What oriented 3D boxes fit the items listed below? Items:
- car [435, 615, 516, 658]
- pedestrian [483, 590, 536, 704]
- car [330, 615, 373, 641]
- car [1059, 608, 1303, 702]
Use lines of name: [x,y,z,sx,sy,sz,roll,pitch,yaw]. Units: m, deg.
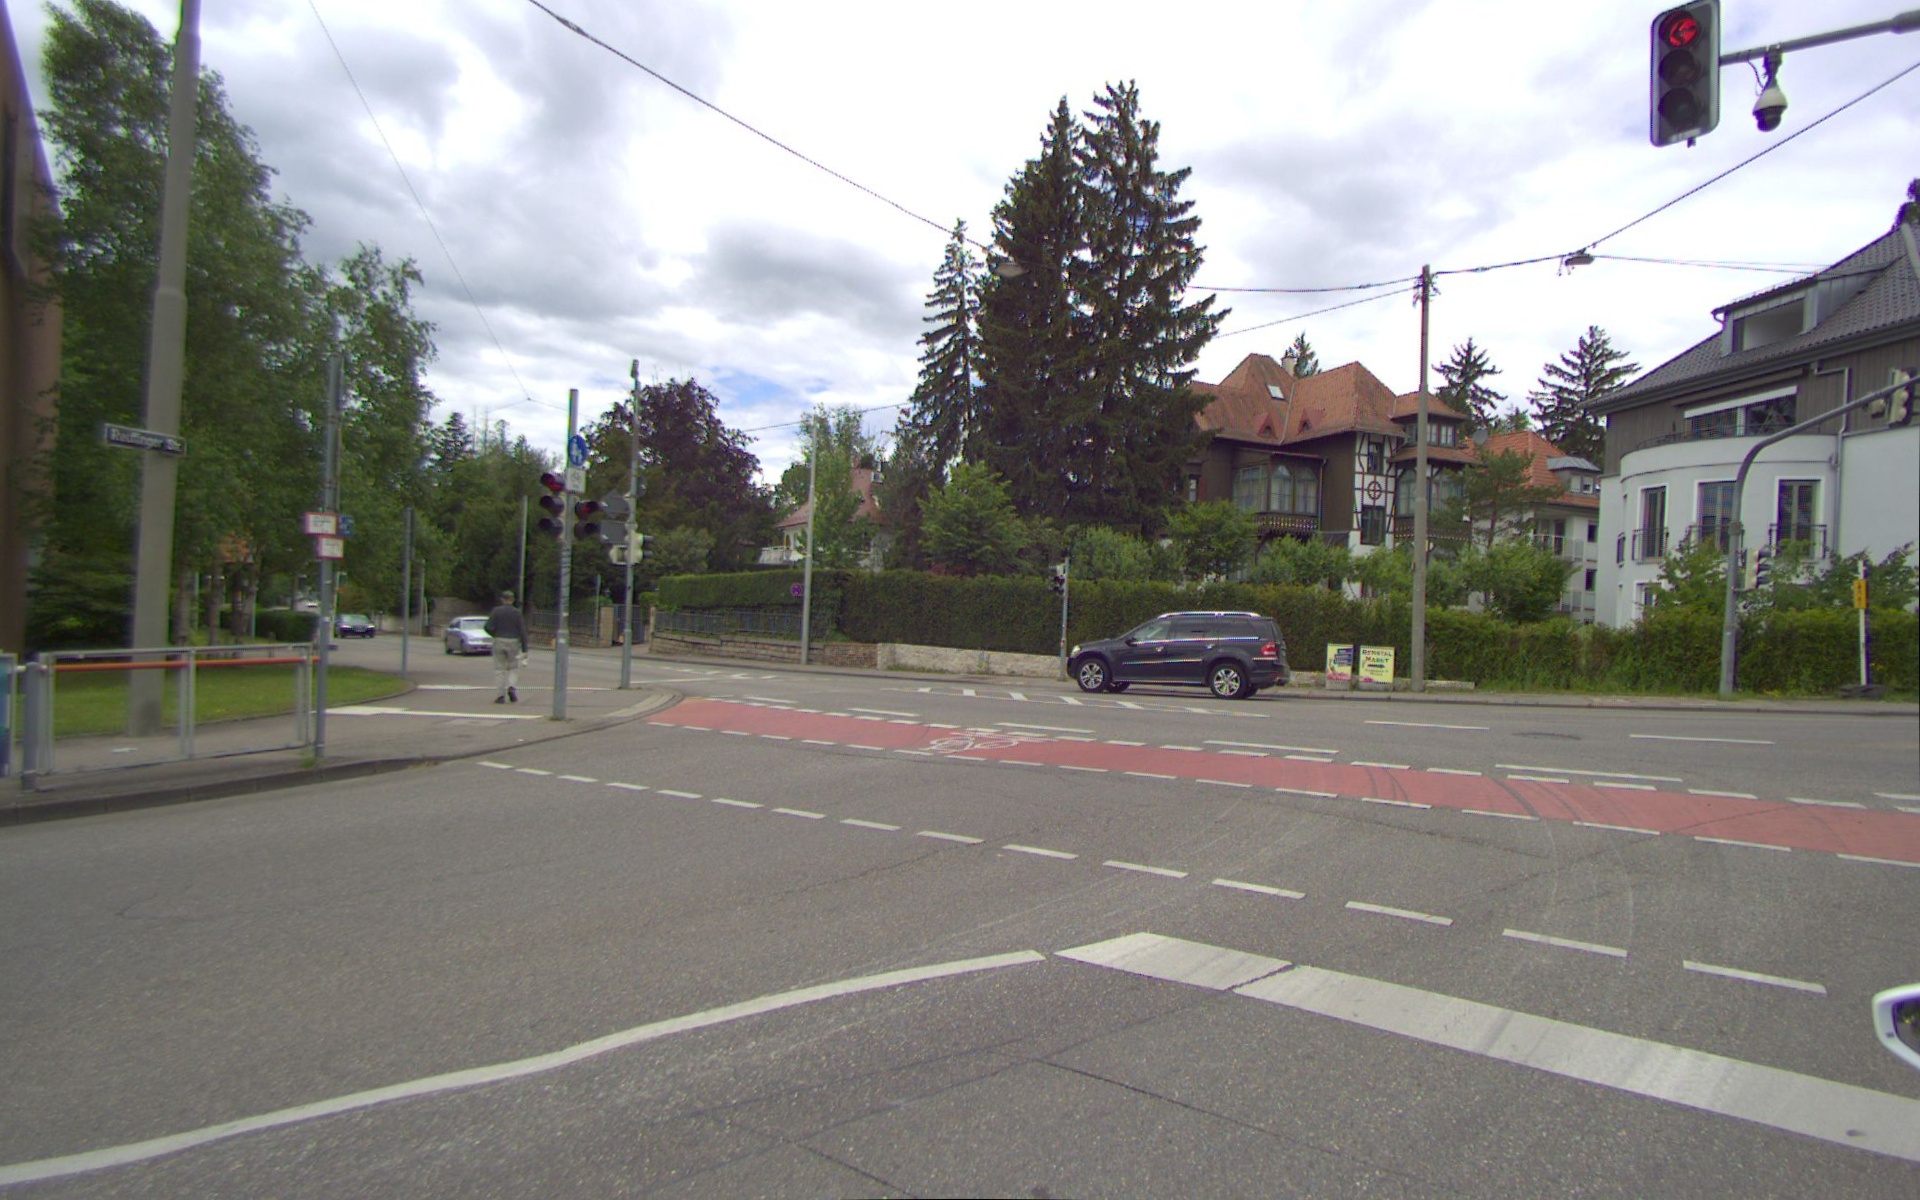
car: [-18.244,1.317,37.722,1.696,1.432,4.373,1,0,-40]
pedestrian: [-6.759,0.693,15.090,0.673,1.655,0.736,0,-1,-21]
car: [-38.102,1.736,62.864,1.816,1.556,3.955,2,-2,-39]
car: [4.954,1.176,22.657,5.046,1.905,1.917,0,-2,26]
